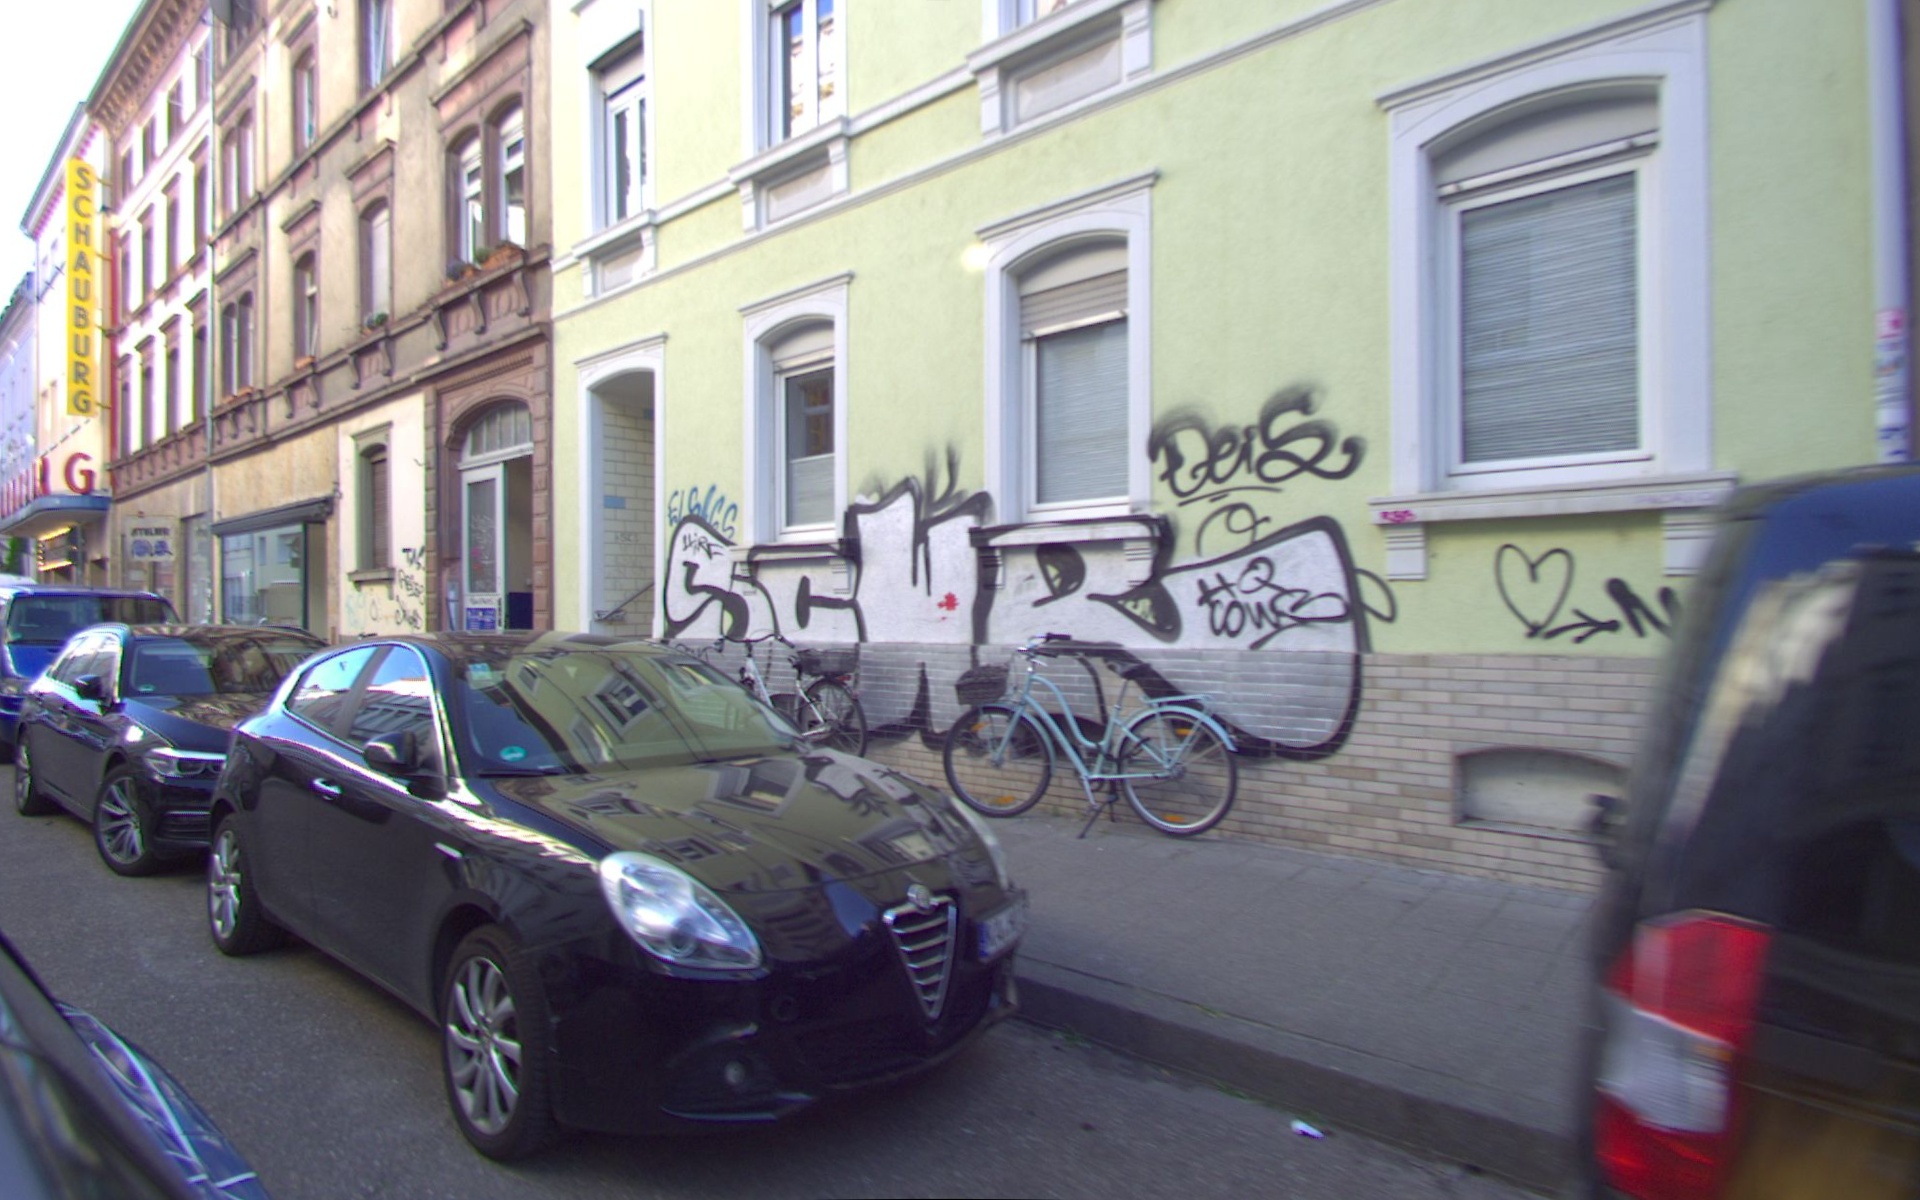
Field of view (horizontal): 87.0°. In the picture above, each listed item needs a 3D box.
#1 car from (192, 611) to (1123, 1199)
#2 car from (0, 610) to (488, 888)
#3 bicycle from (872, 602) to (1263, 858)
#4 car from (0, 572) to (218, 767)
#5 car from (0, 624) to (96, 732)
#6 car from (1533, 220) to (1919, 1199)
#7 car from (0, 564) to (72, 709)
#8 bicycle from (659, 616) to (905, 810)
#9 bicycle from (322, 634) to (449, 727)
[{"bbox_3d":[-1.519,0.787,4.065,3.998,1.438,1.718,-1,-2,41],"label":"car"},{"bbox_3d":[-5.518,0.852,7.492,4.639,1.451,1.843,-2,-2,39],"label":"car"},{"bbox_3d":[0.554,0.677,6.087,2.325,1.255,0.660,-2,2,40],"label":"bicycle"},{"bbox_3d":[-10.586,0.761,12.042,4.611,1.906,1.808,-1,-4,41],"label":"car"},{"bbox_3d":[-14.382,1.094,15.085,3.836,1.458,1.629,-1,-2,39],"label":"car"},{"bbox_3d":[2.655,0.551,0.373,3.997,1.711,1.782,-1,-3,40],"label":"car"},{"bbox_3d":[-18.774,0.676,19.048,5.916,2.471,2.146,-1,-3,40],"label":"car"},{"bbox_3d":[-1.403,0.776,7.696,2.085,1.281,0.666,-2,-1,41],"label":"bicycle"},{"bbox_3d":[-7.329,0.976,12.870,2.029,1.028,0.747,-2,2,42],"label":"bicycle"}]
